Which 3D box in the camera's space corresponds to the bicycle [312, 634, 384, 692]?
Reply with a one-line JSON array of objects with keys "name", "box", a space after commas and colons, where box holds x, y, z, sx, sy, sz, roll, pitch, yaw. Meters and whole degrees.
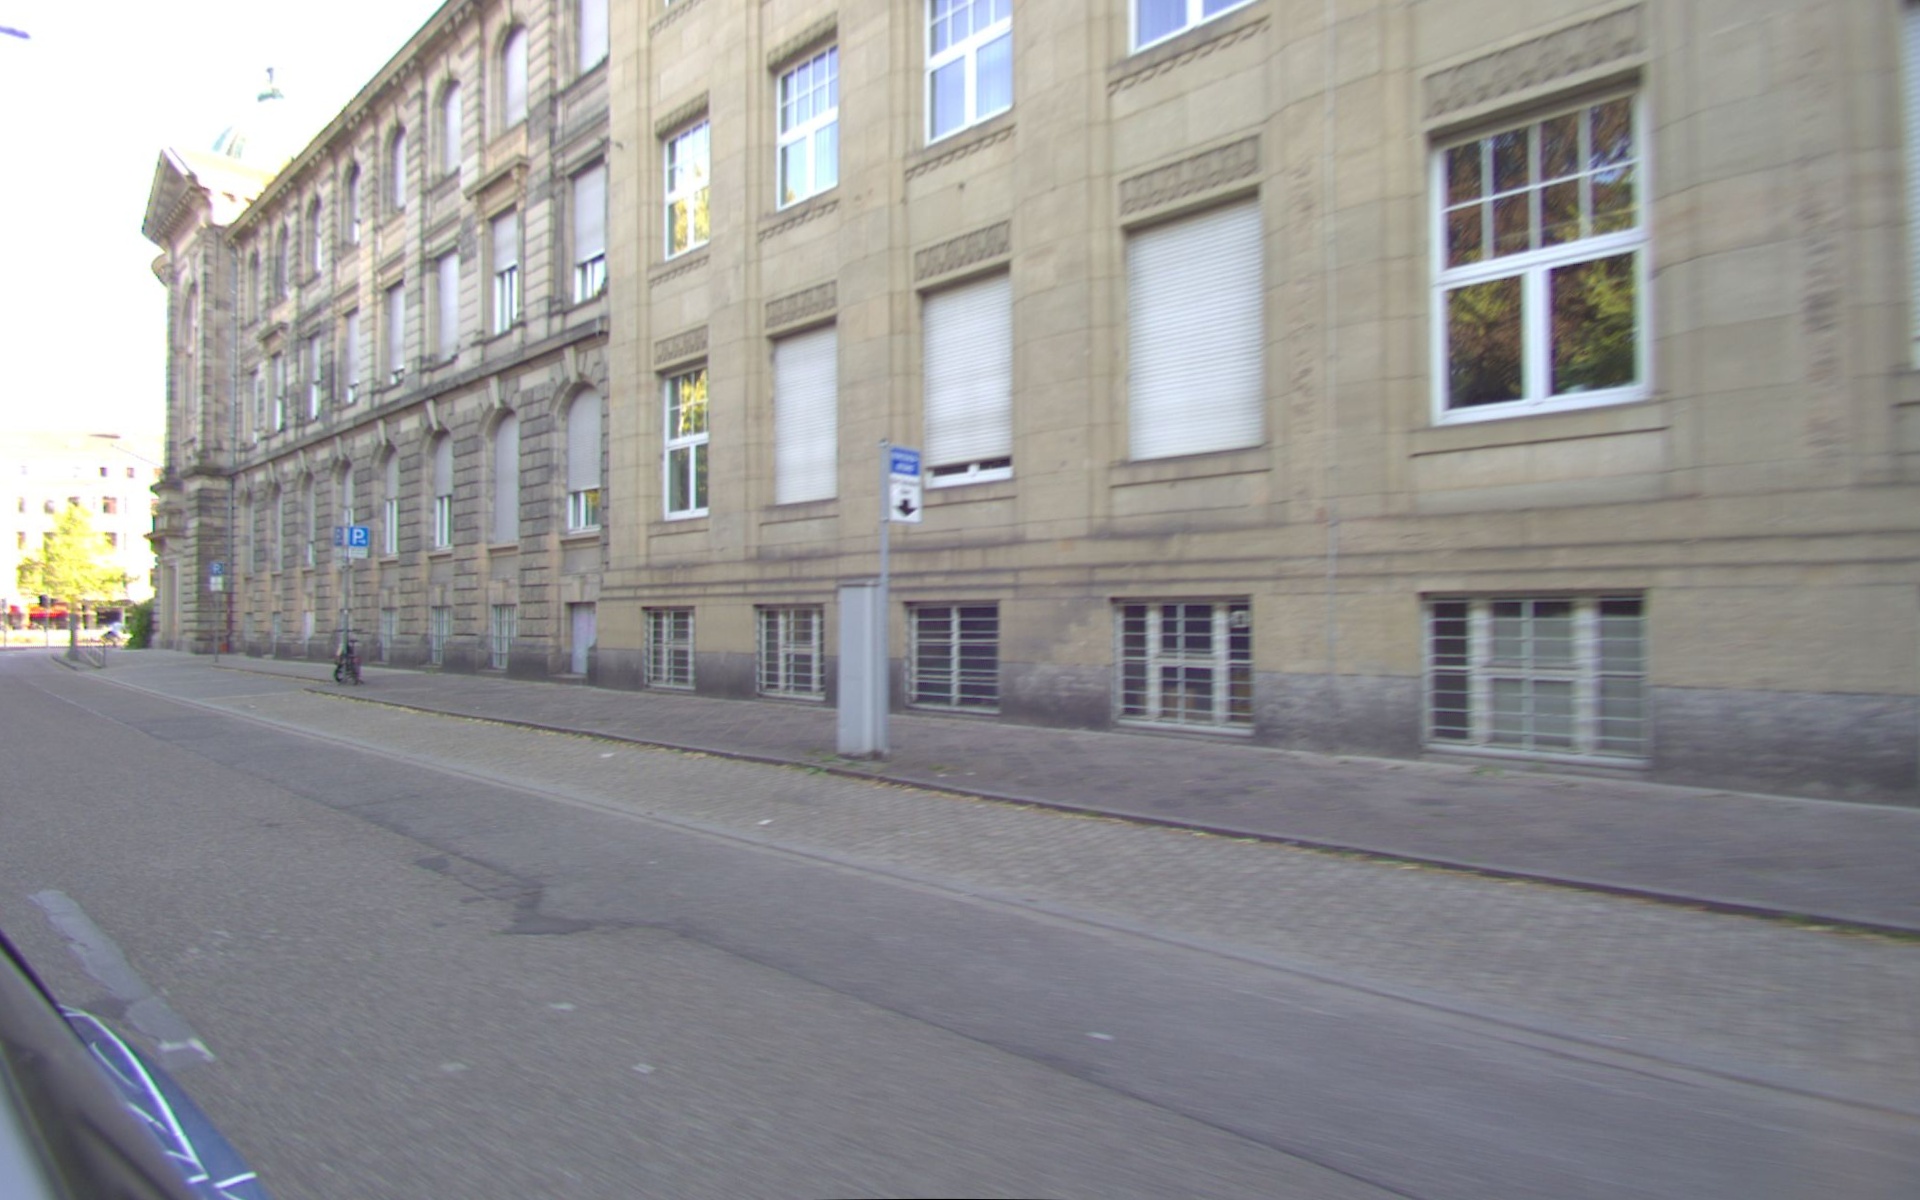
[{"name": "bicycle", "box": [-12.827, 1.293, 21.186, 0.842, 1.110, 1.983, -1, 0, -44]}]

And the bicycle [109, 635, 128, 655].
[{"name": "bicycle", "box": [-47.634, 2.537, 57.290, 0.653, 1.078, 2.158, 1, -2, -36]}]

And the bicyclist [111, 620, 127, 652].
[{"name": "bicyclist", "box": [-47.736, 2.054, 57.444, 0.636, 1.821, 0.782, 1, -2, -36]}]
